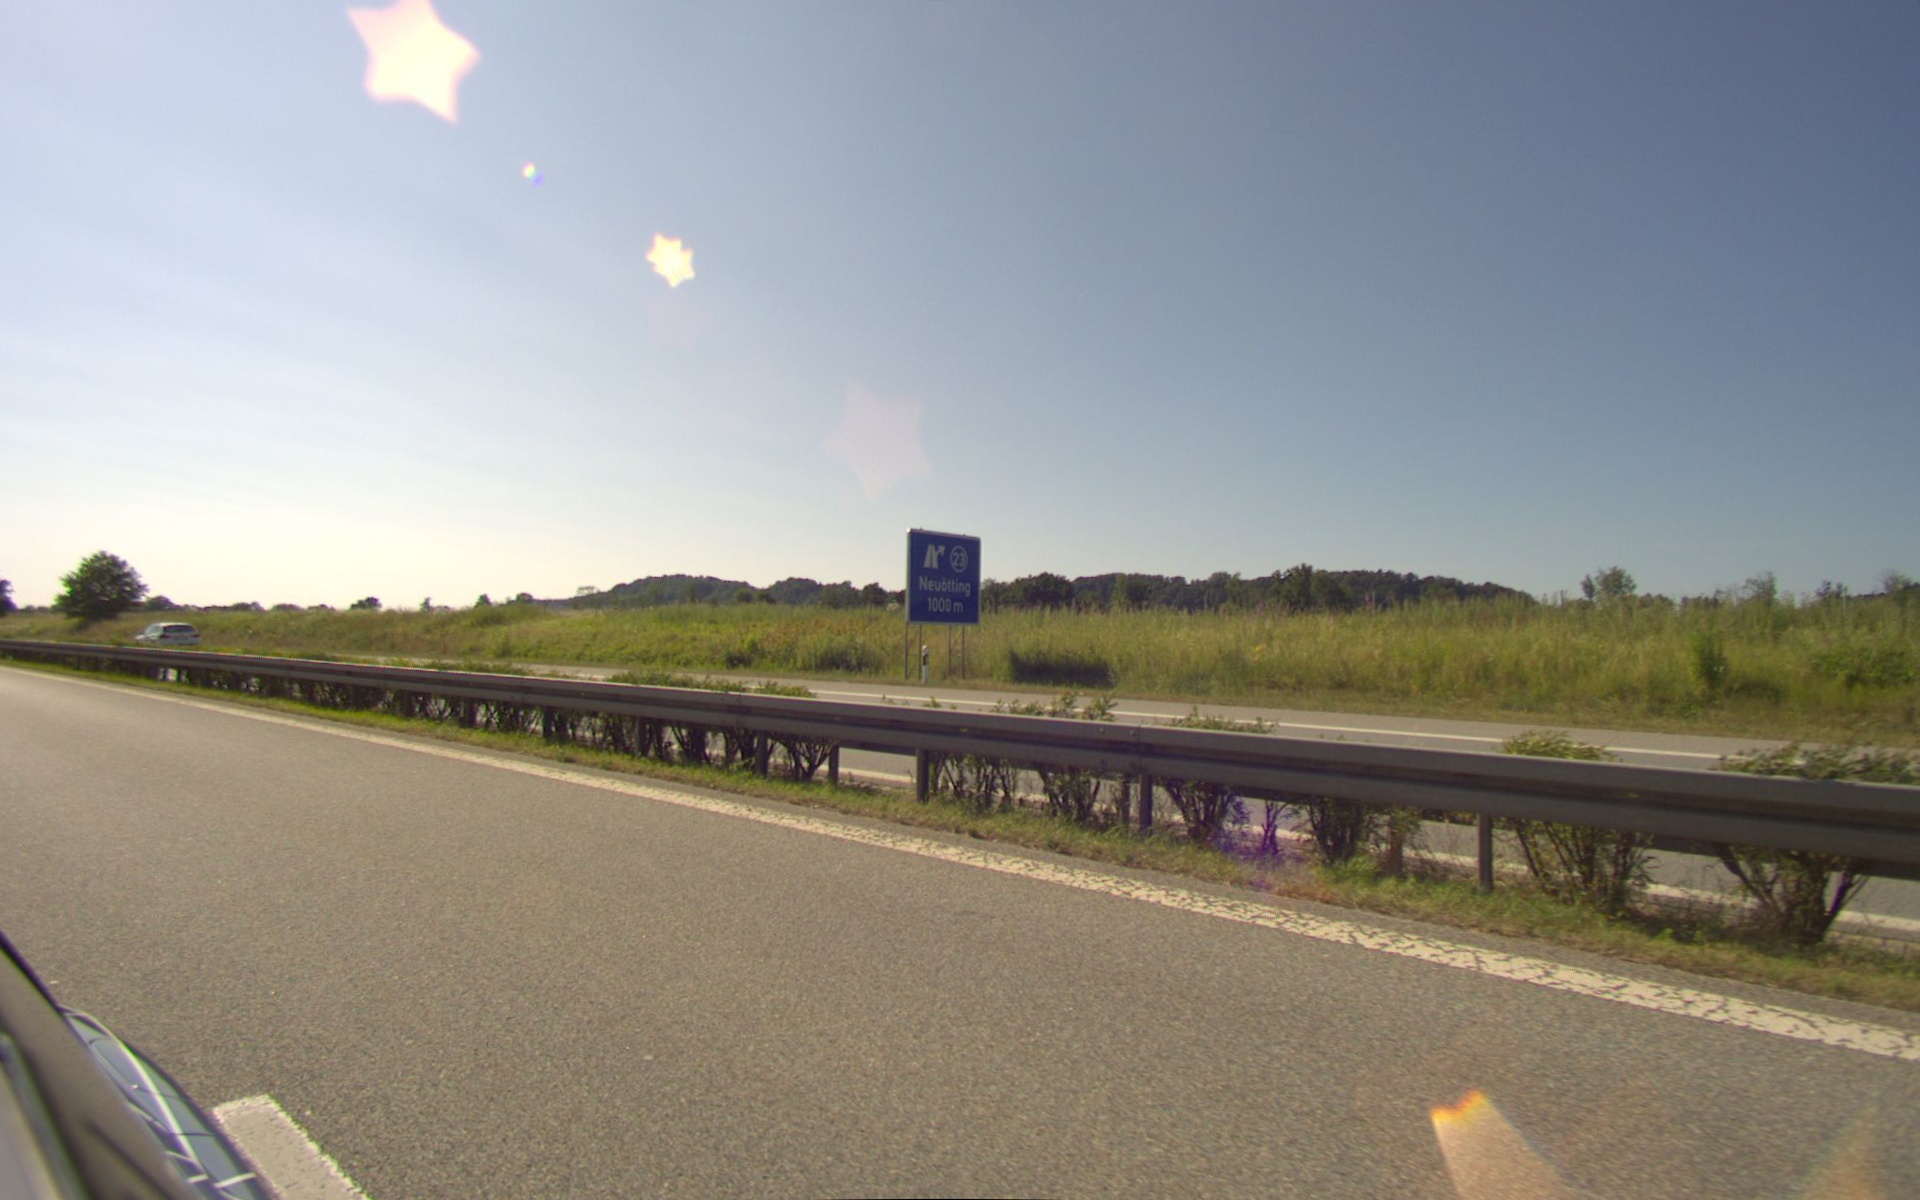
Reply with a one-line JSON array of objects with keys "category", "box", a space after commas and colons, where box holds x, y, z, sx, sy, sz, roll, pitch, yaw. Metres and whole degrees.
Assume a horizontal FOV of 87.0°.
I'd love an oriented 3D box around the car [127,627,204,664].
[{"category": "car", "box": [-38.144, 2.168, 48.525, 5.002, 1.636, 1.748, -2, -5, 39]}]
